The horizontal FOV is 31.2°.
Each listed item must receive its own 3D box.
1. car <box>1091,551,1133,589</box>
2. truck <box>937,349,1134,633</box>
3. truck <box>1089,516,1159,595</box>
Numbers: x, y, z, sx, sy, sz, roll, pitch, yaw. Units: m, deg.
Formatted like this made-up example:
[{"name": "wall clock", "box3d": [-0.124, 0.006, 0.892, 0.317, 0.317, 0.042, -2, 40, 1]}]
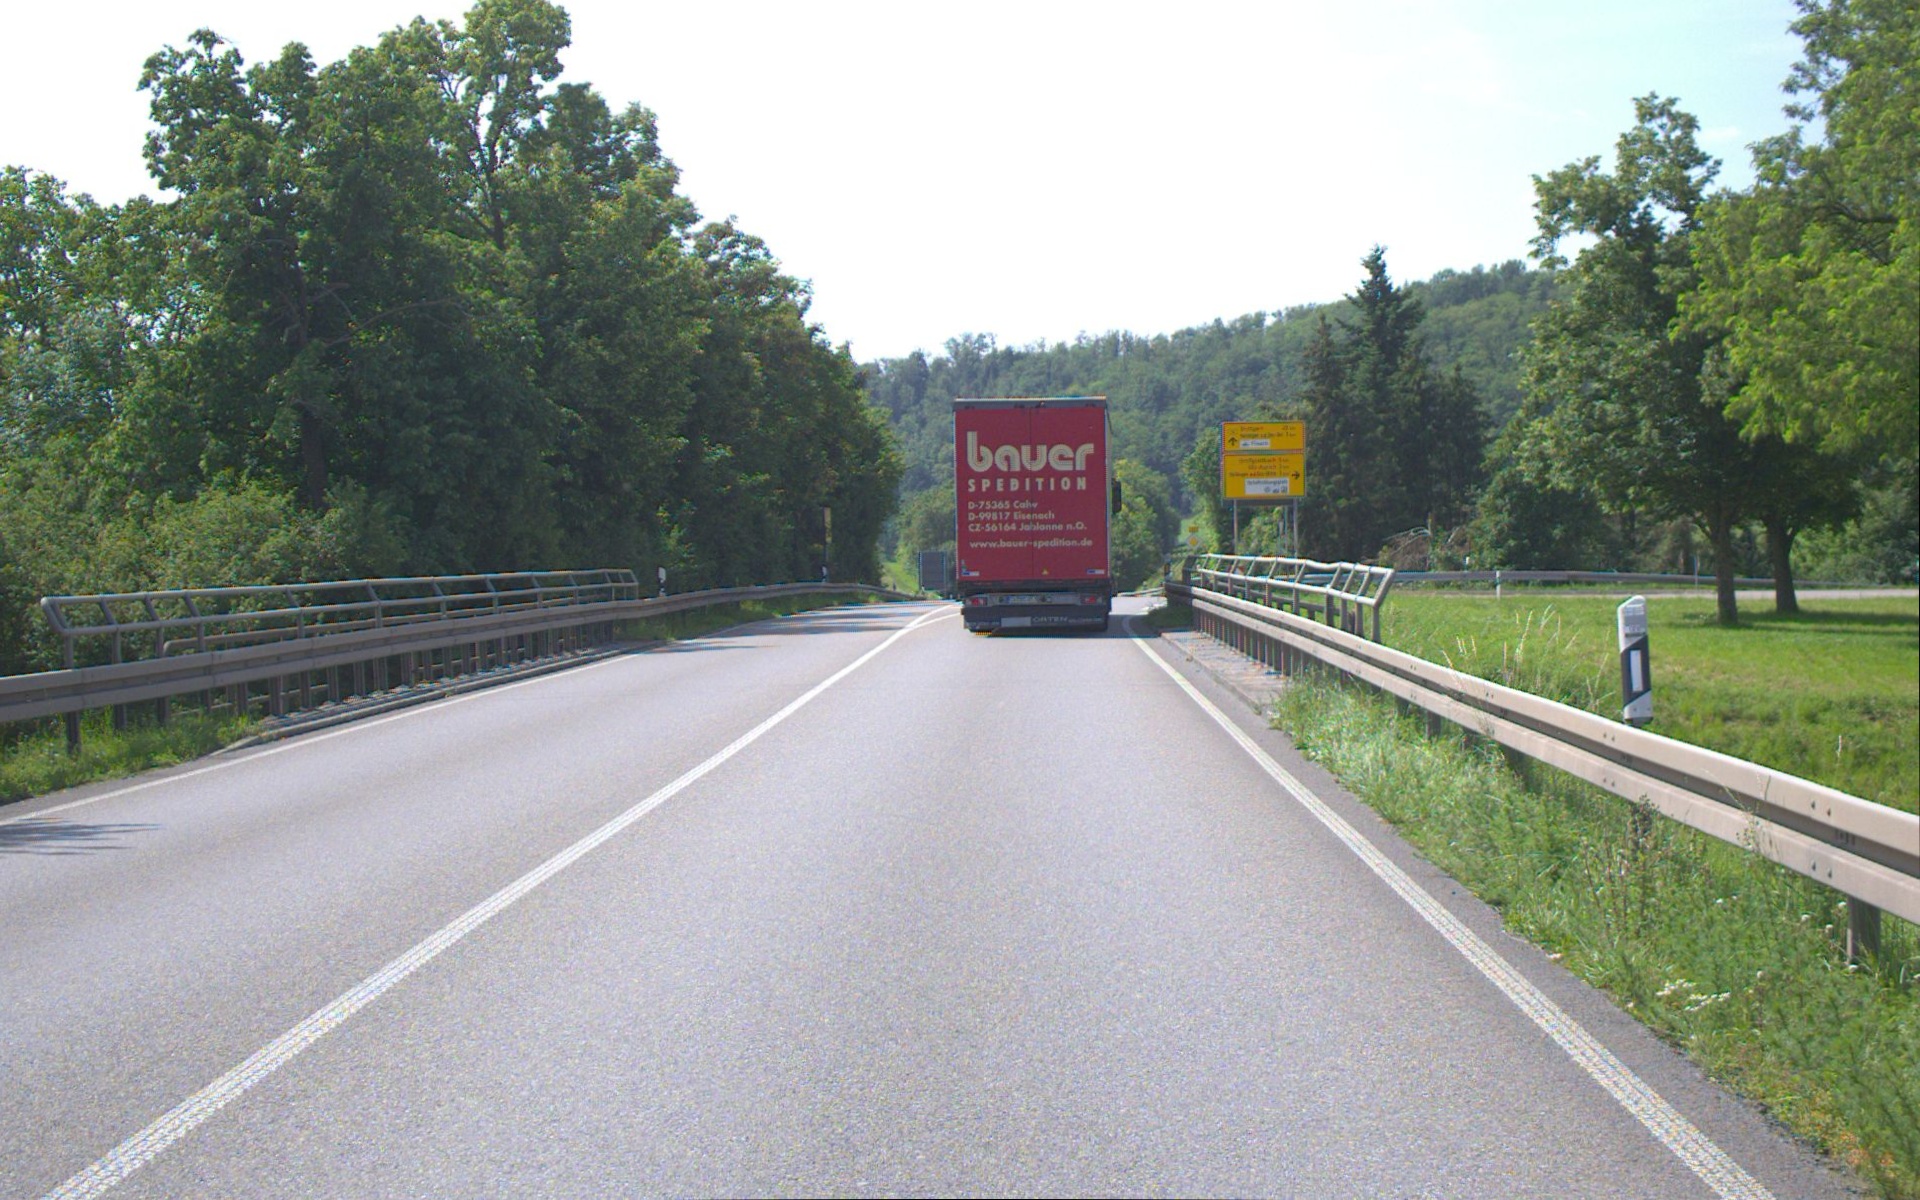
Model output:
[{"name": "car", "box3d": [7.857, -1.524, 177.694, 1.993, 1.804, 4.000, 2, -1, 1]}, {"name": "truck", "box3d": [1.500, -1.923, 63.457, 3.172, 4.609, 13.543, -1, 1, 2]}, {"name": "truck", "box3d": [10.031, -2.640, 208.997, 3.905, 4.355, 13.290, 2, -1, 4]}]
